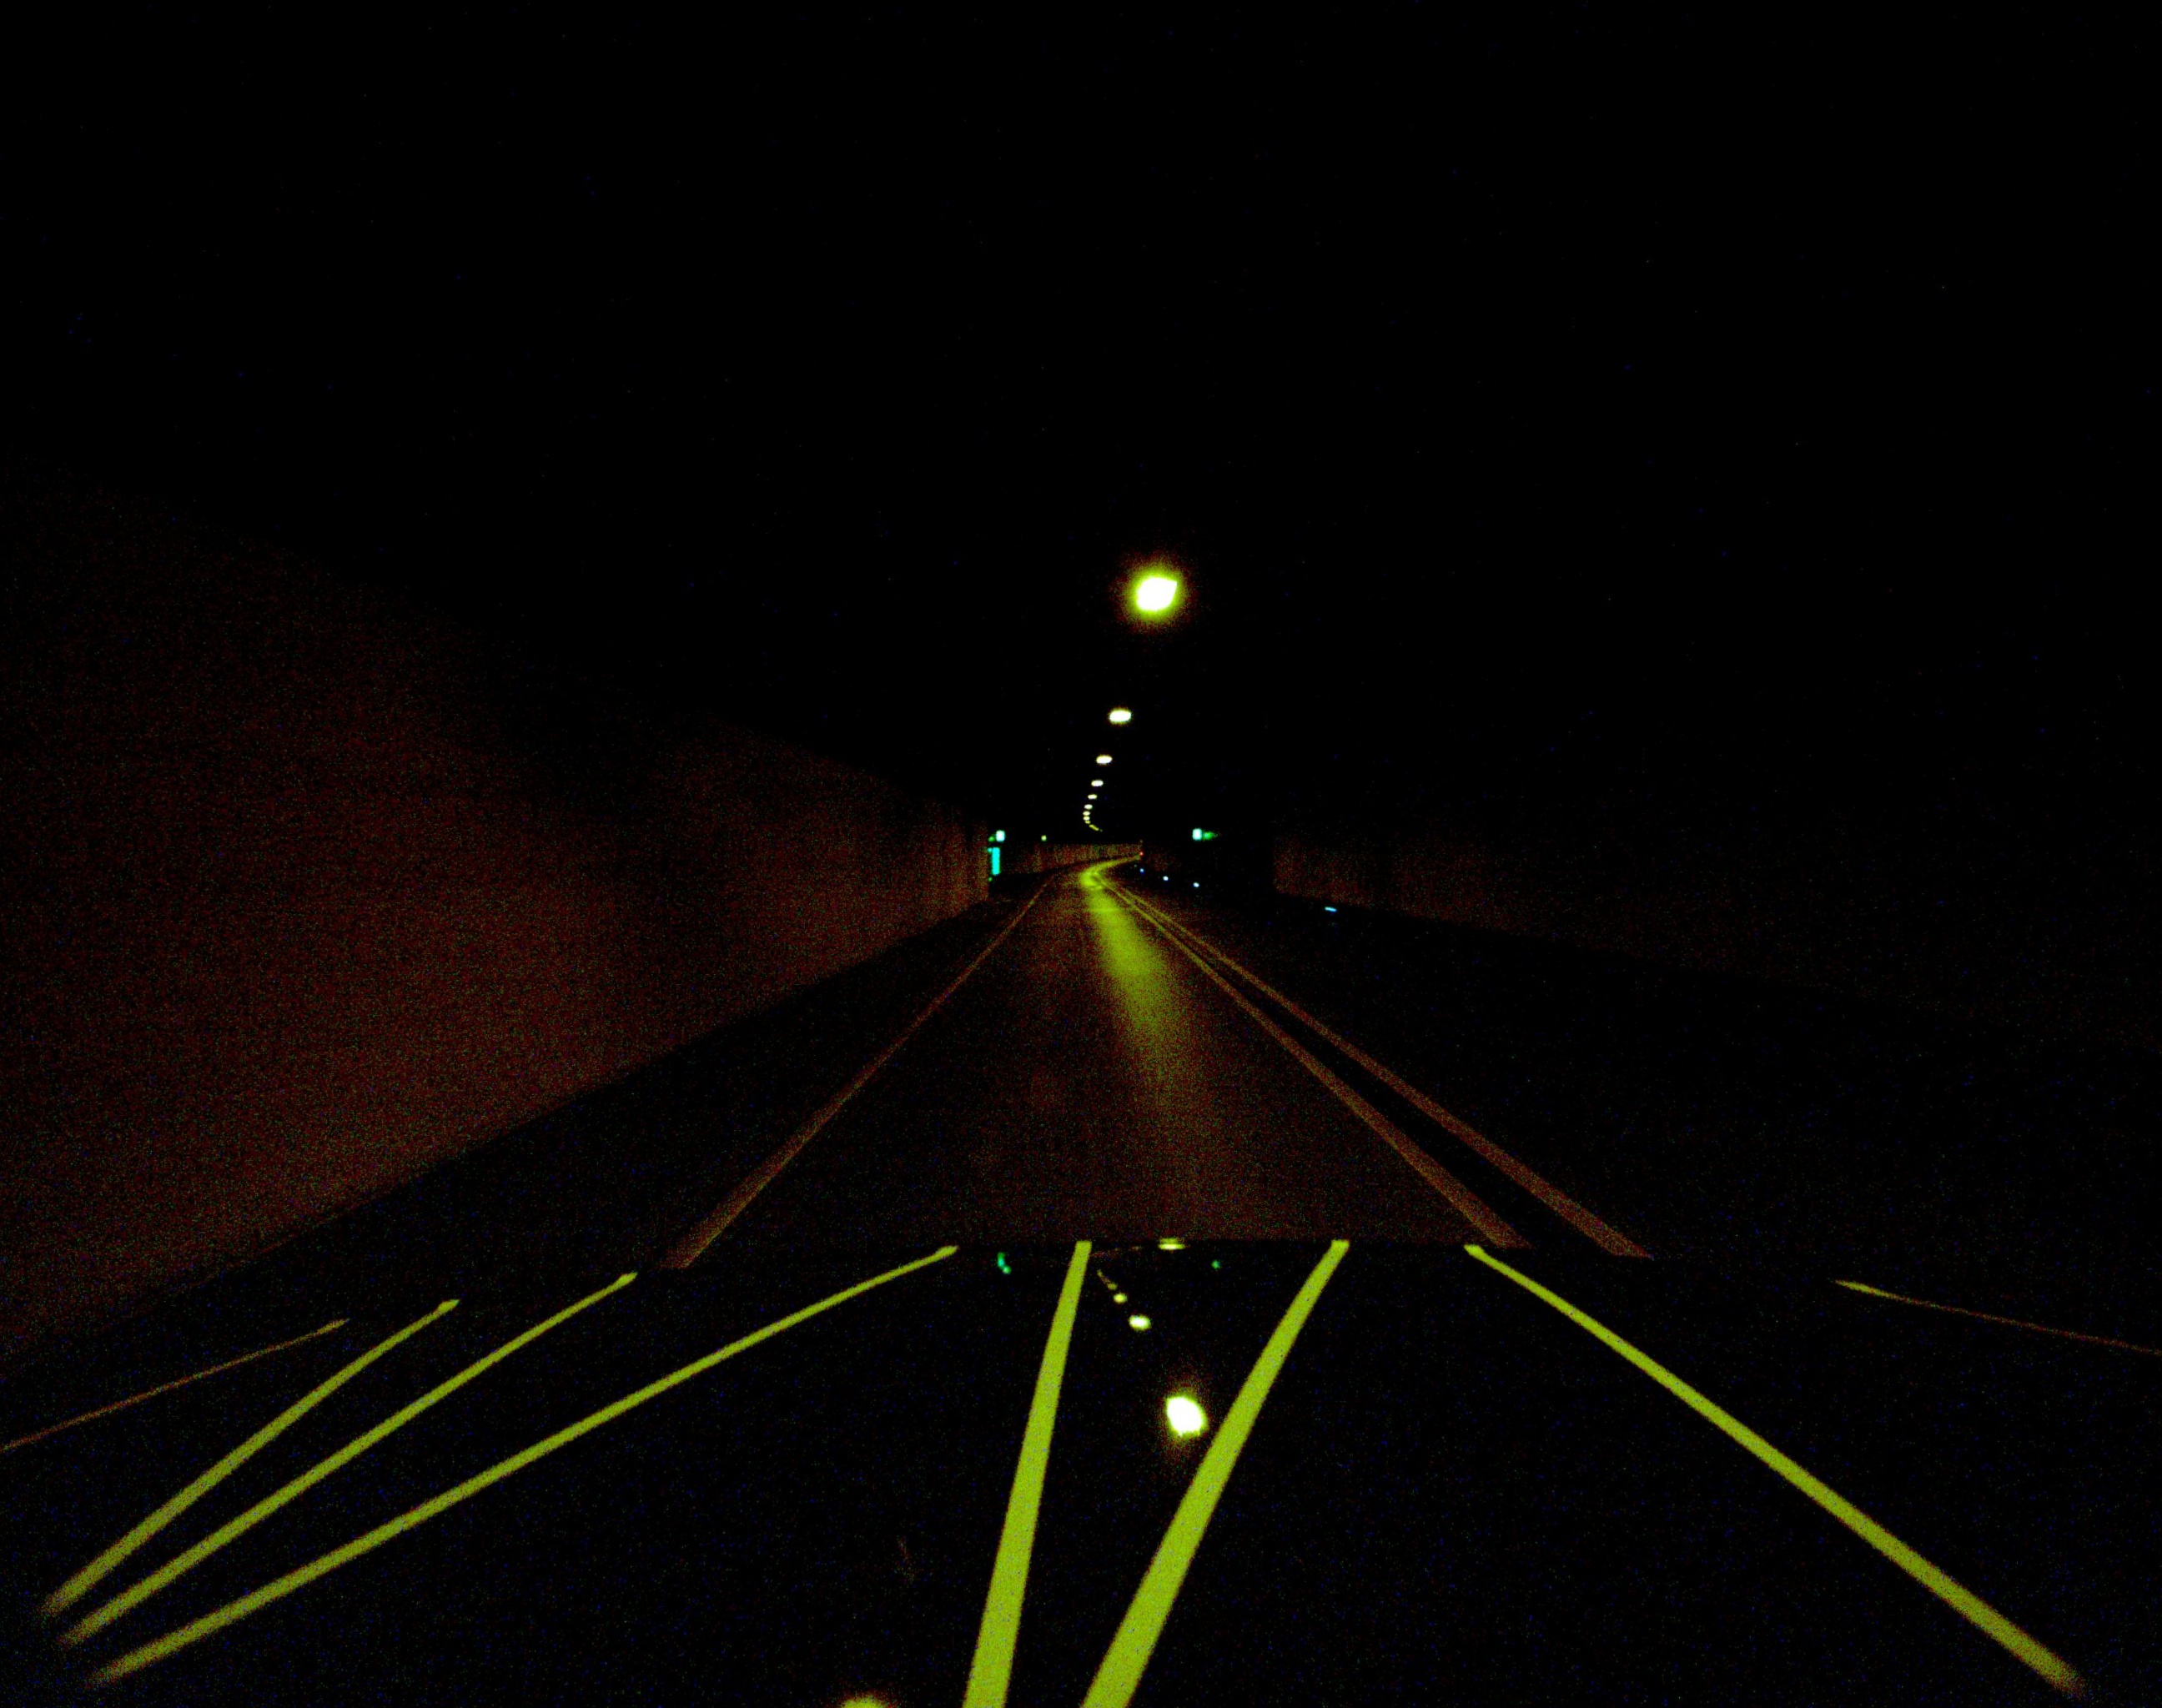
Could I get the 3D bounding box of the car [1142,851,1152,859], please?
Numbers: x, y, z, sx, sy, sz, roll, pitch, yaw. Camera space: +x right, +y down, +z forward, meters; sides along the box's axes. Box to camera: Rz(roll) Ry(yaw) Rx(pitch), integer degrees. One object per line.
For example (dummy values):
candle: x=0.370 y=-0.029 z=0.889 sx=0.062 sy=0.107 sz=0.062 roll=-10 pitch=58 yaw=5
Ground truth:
car: x=13.479 y=0.202 z=155.761 sx=1.710 sy=1.407 sz=4.120 roll=2 pitch=0 yaw=8
